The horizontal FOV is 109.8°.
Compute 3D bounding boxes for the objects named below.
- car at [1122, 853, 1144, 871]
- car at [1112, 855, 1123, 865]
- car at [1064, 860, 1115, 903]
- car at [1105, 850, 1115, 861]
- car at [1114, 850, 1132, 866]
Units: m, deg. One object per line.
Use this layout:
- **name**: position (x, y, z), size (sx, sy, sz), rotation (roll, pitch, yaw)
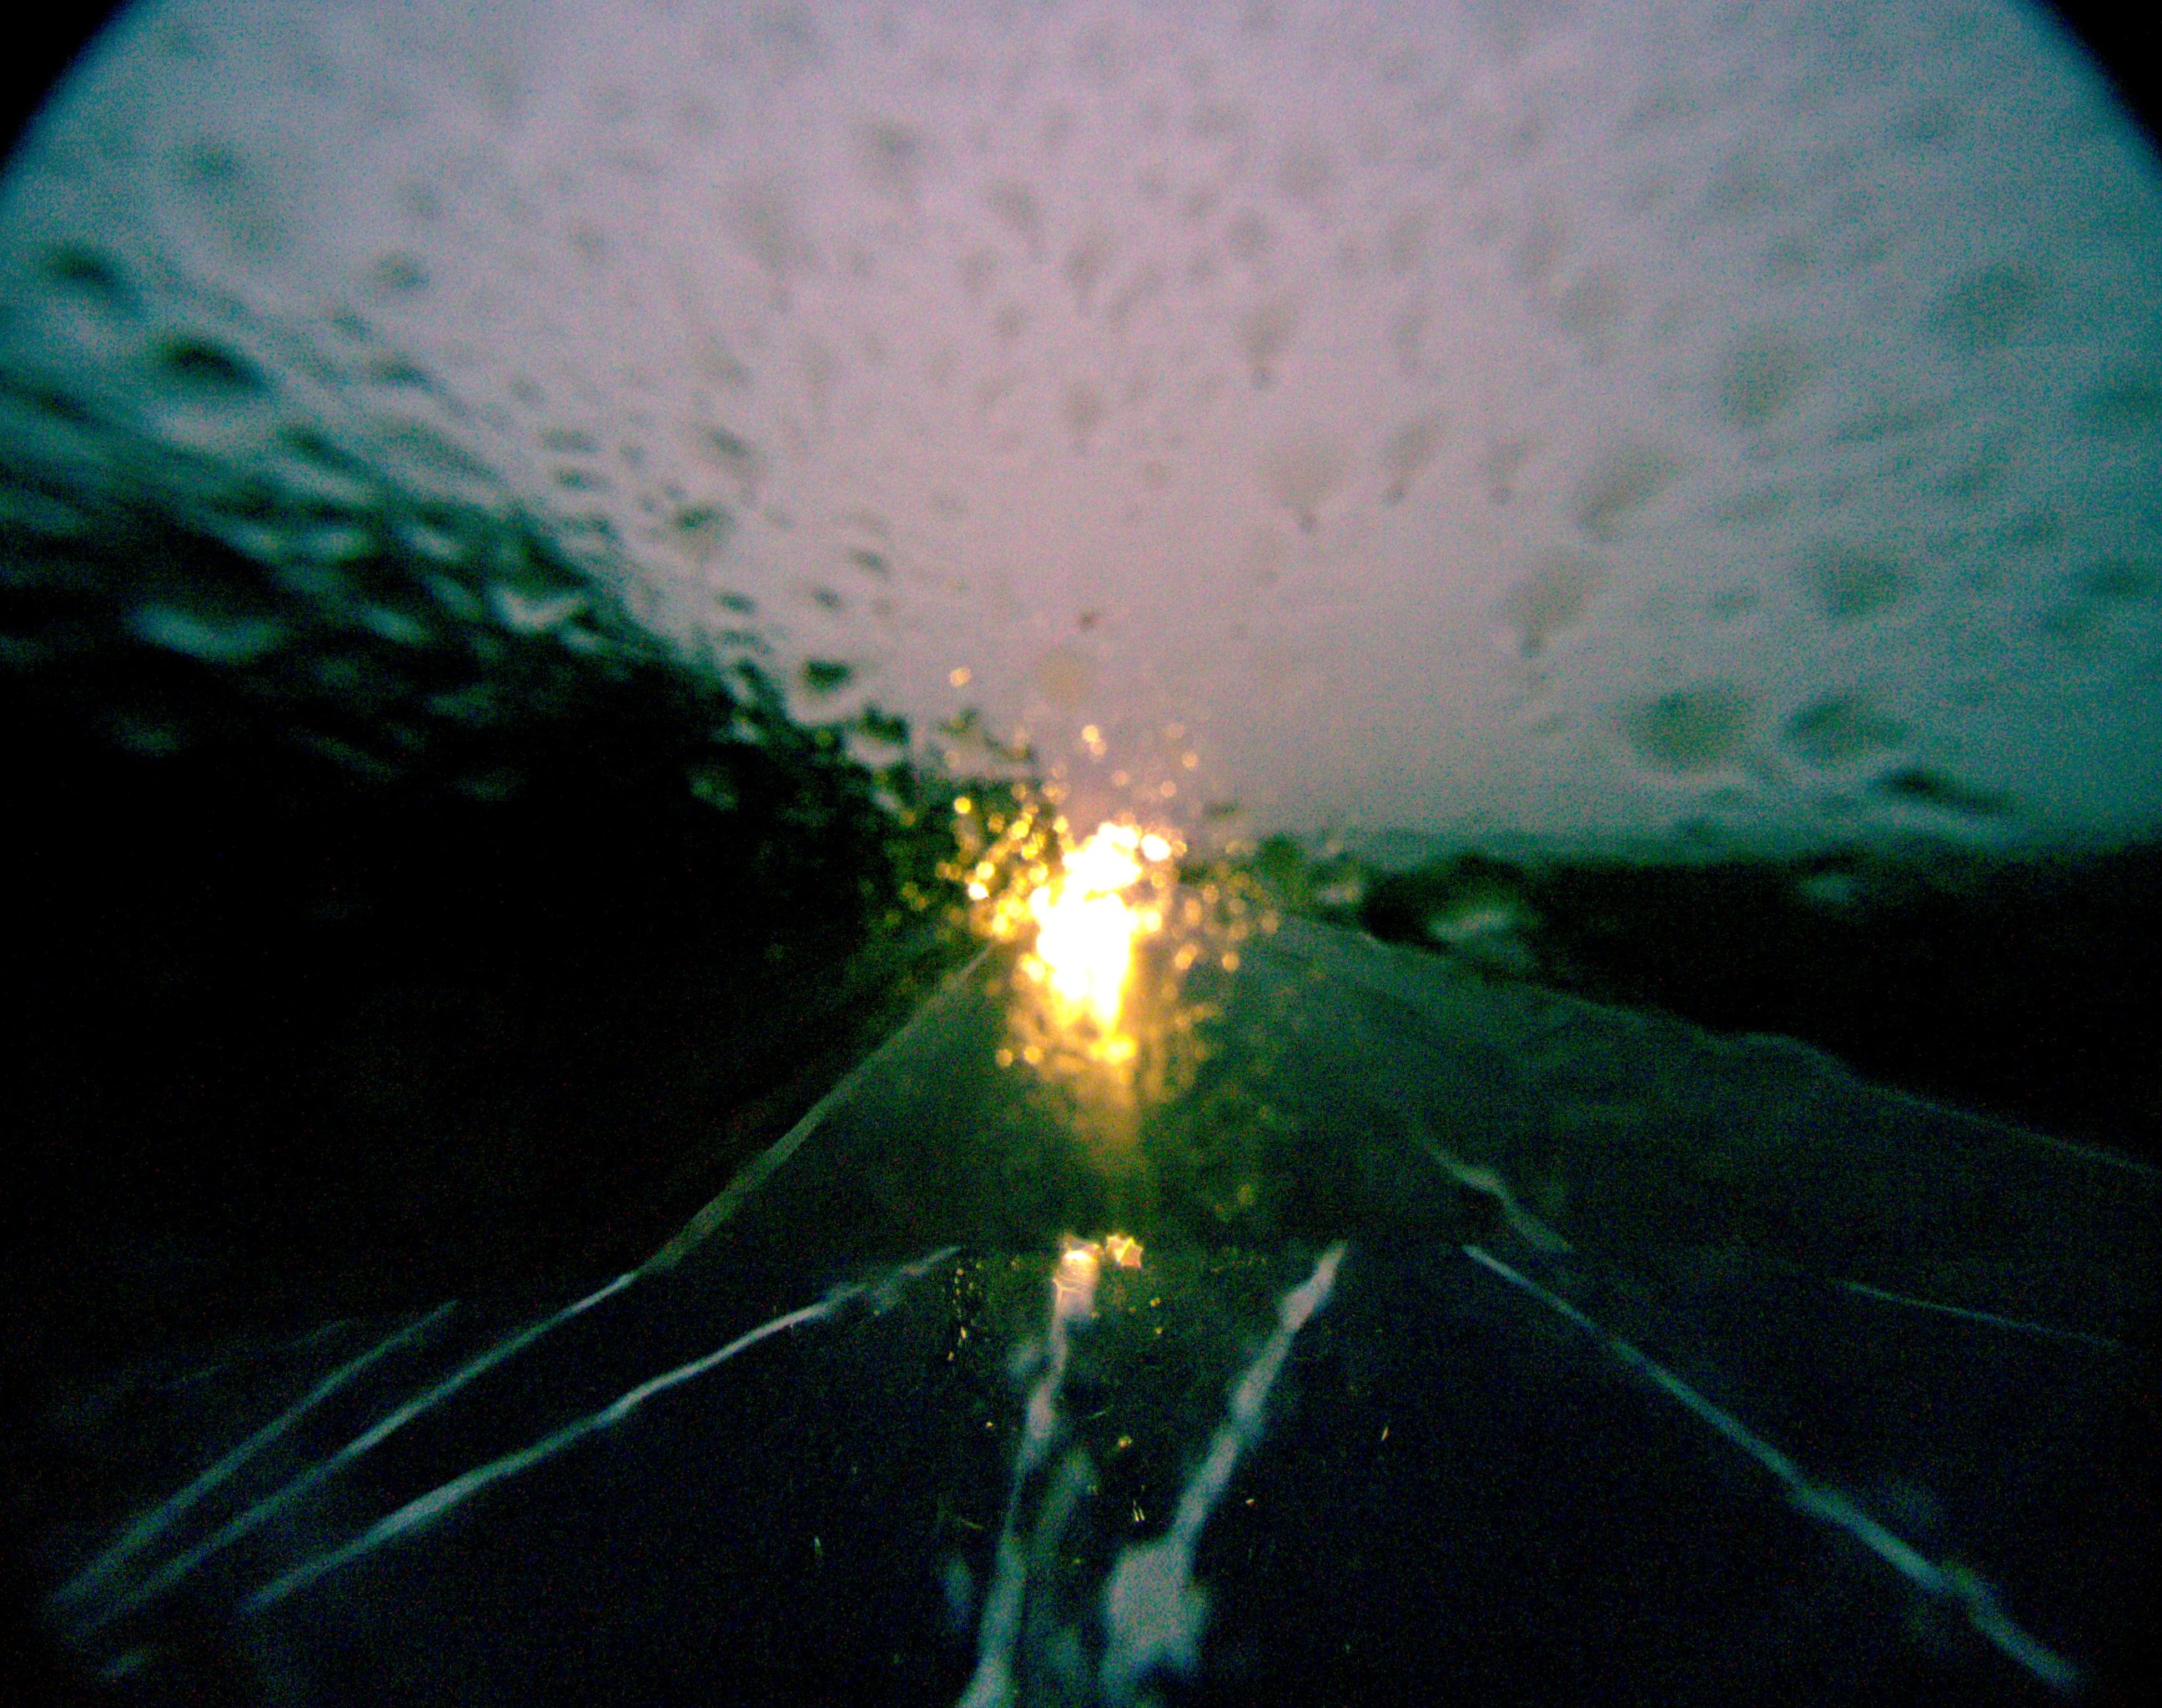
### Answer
- **car**: position (4.865, 0.738, 71.614), size (1.733, 1.637, 4.261), rotation (2, 0, 1)
- **car**: position (5.737, 0.946, 119.609), size (1.630, 1.464, 3.512), rotation (1, 1, 1)
- **car**: position (0.316, 1.034, 30.093), size (1.844, 1.484, 3.955), rotation (-2, 1, 0)
- **car**: position (5.664, 0.279, 149.888), size (1.871, 2.041, 4.294), rotation (0, 0, 1)
- **car**: position (5.213, 0.466, 94.398), size (1.998, 1.860, 4.952), rotation (1, 0, 1)
